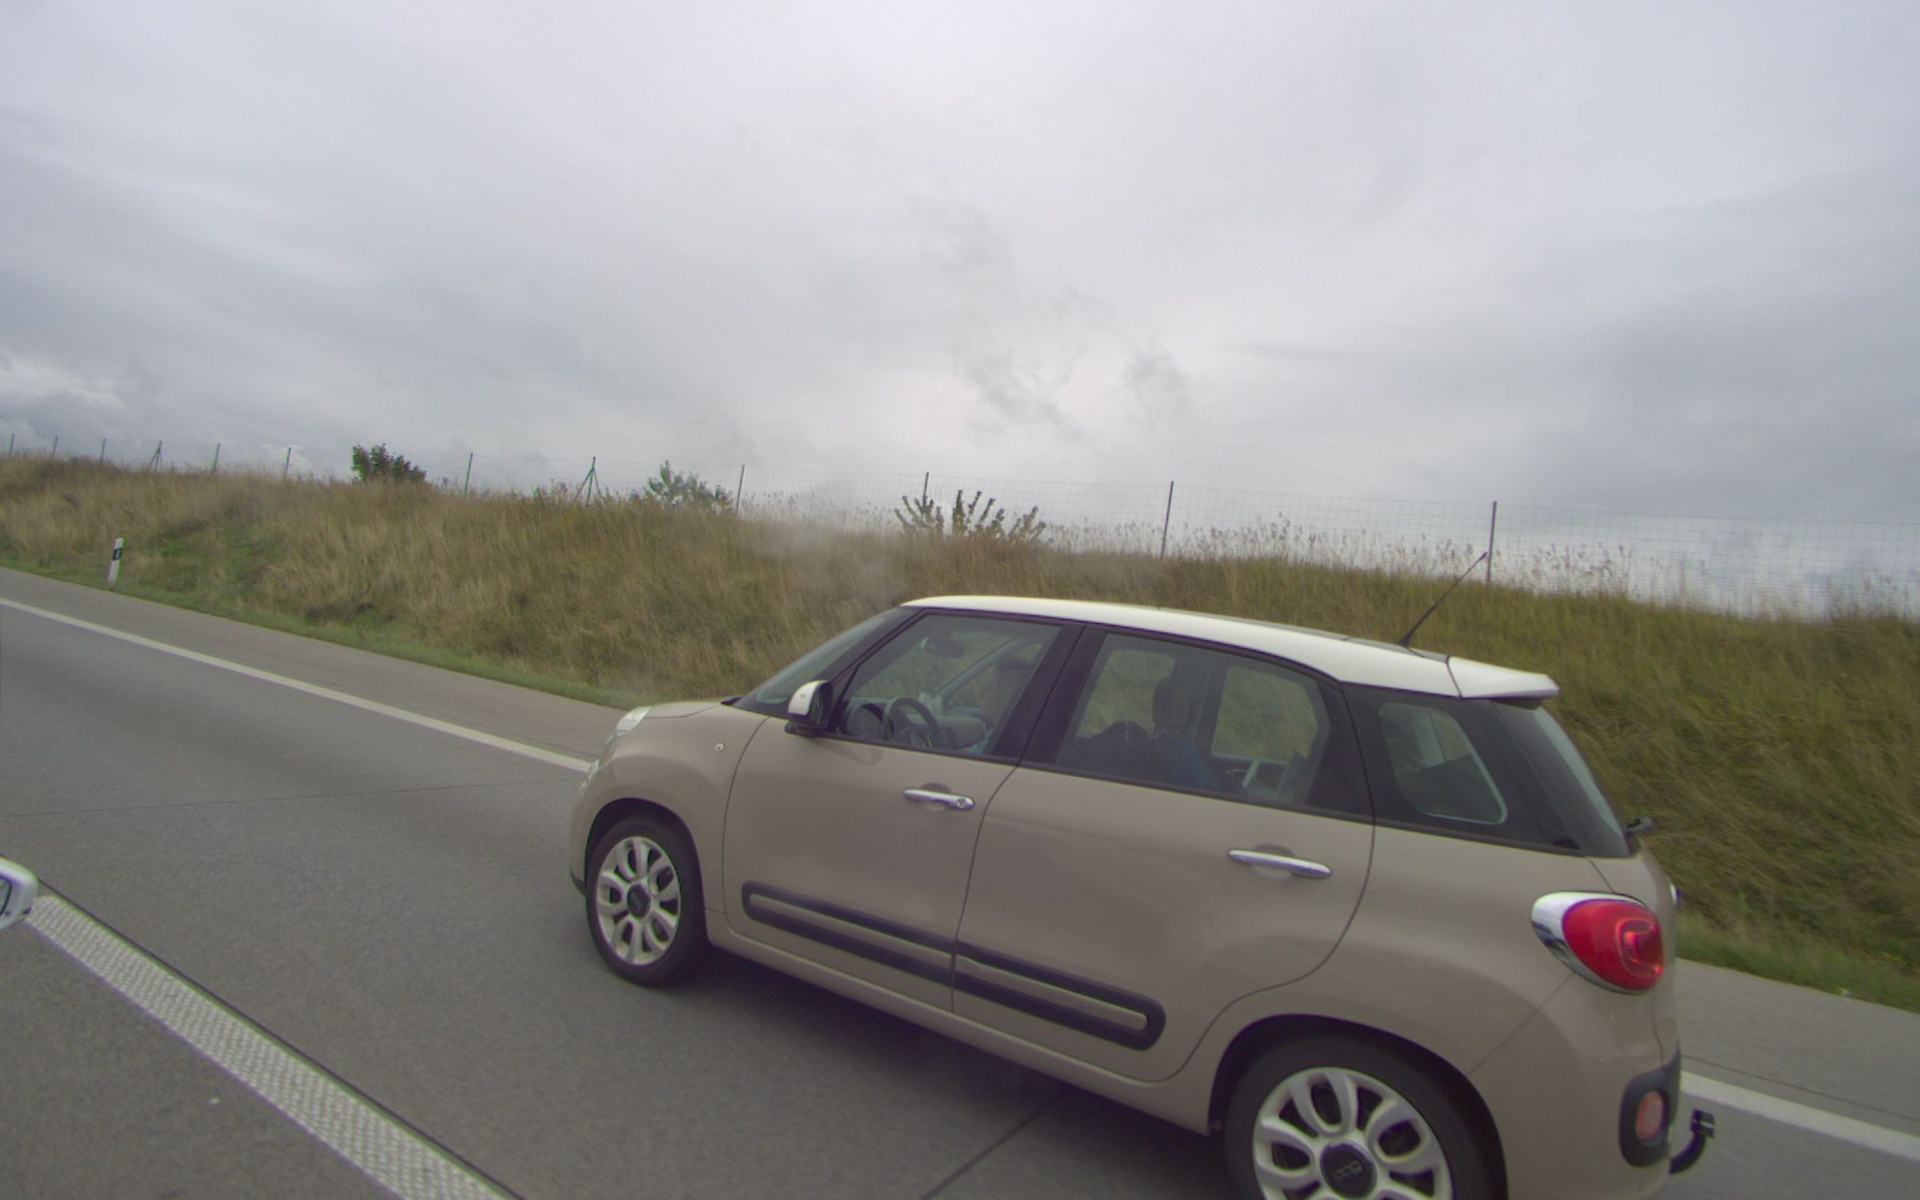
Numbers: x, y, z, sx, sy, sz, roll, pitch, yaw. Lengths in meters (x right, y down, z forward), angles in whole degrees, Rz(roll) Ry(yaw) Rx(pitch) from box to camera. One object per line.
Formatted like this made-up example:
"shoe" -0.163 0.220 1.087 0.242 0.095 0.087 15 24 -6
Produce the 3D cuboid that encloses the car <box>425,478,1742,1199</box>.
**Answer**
"car" 0.087 0.589 4.054 4.494 1.623 1.789 7 -1 31
